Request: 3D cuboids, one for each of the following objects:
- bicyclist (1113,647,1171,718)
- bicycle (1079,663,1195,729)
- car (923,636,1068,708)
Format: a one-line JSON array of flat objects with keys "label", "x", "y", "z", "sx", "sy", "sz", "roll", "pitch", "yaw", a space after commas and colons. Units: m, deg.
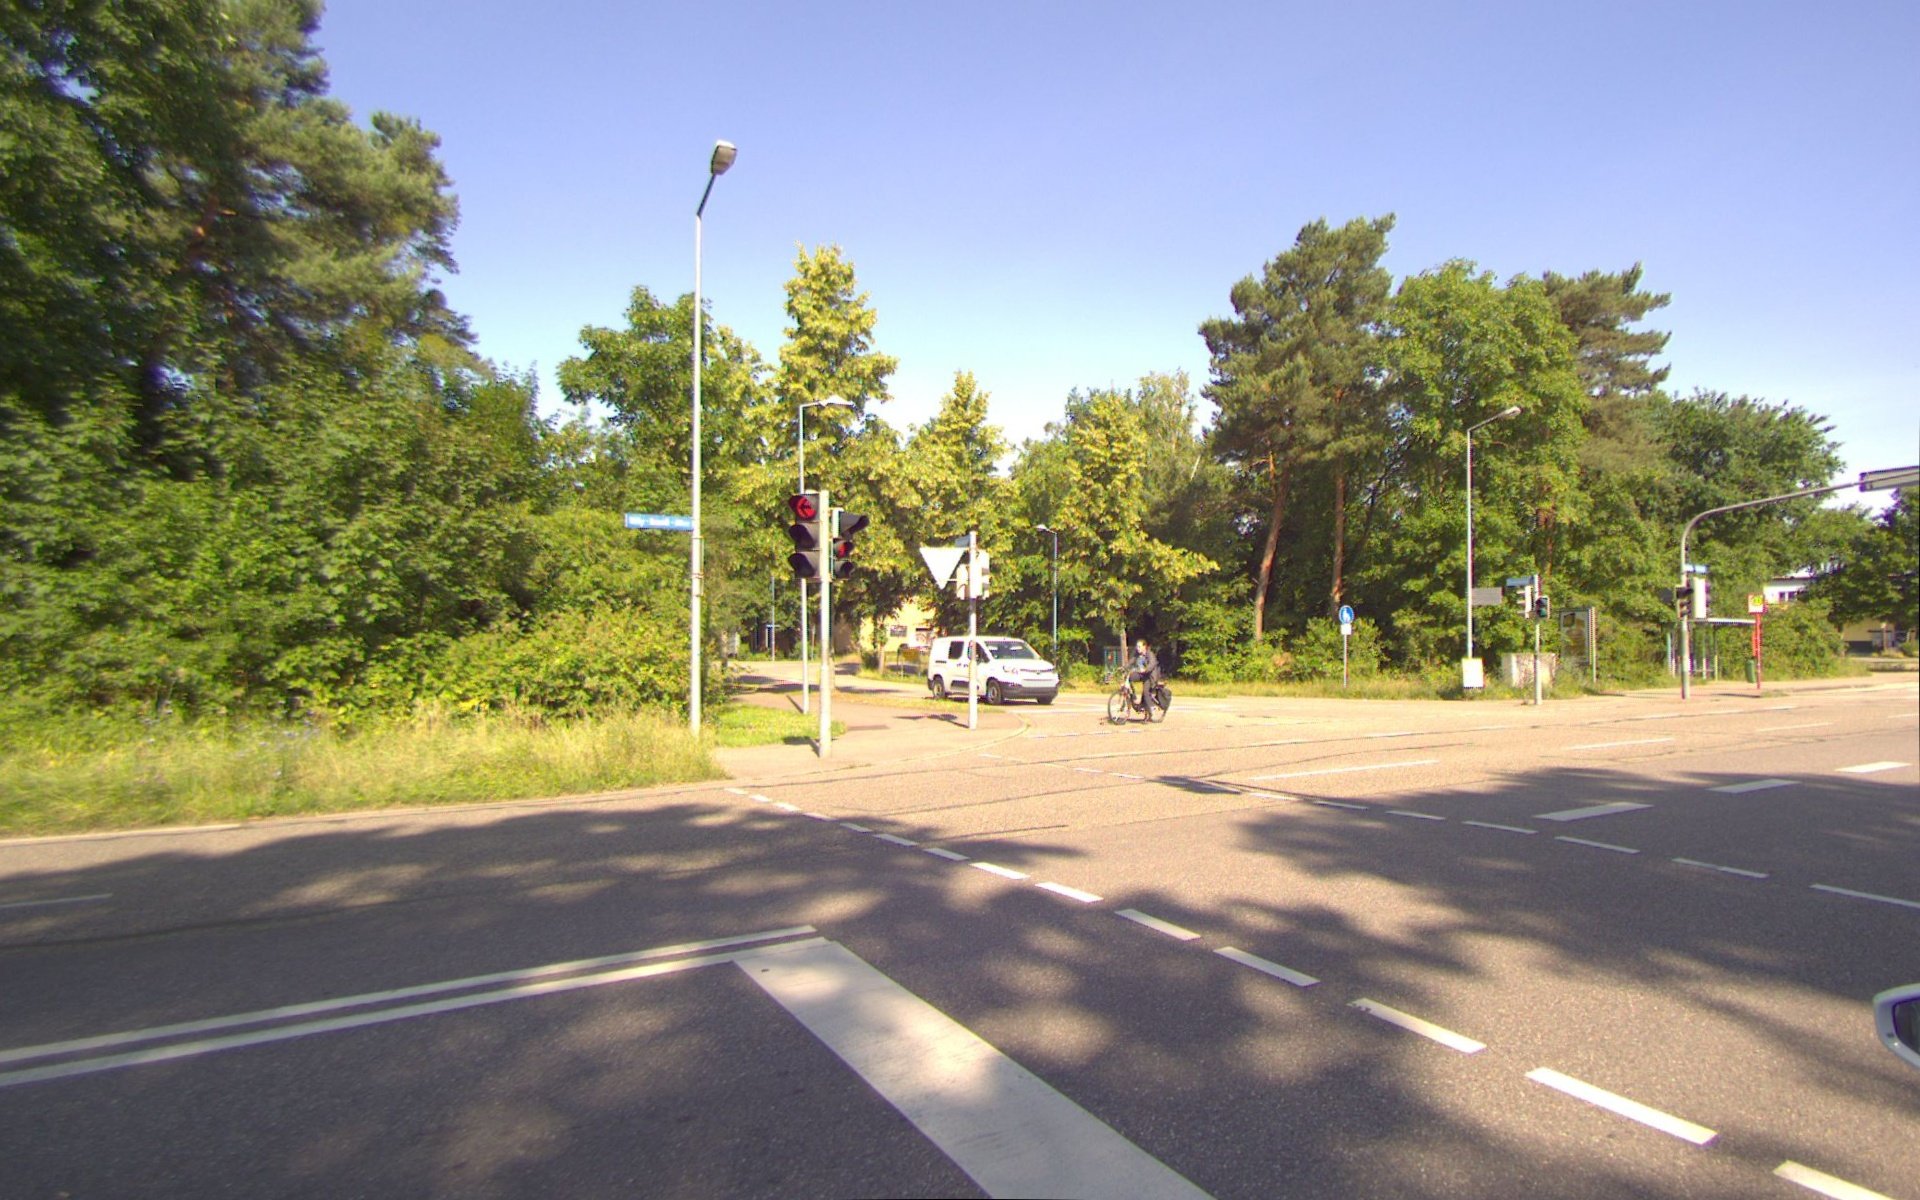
[{"label": "bicyclist", "x": 3.559, "y": 1.599, "z": 19.682, "sx": 0.874, "sy": 1.328, "sz": 0.717, "roll": 1, "pitch": -2, "yaw": -33}, {"label": "bicycle", "x": 3.477, "y": 1.846, "z": 19.640, "sx": 2.346, "sy": 1.178, "sz": 0.728, "roll": 1, "pitch": -2, "yaw": -32}, {"label": "car", "x": 0.856, "y": 1.936, "z": 27.383, "sx": 1.830, "sy": 1.801, "sz": 4.626, "roll": 2, "pitch": -4, "yaw": -29}]
